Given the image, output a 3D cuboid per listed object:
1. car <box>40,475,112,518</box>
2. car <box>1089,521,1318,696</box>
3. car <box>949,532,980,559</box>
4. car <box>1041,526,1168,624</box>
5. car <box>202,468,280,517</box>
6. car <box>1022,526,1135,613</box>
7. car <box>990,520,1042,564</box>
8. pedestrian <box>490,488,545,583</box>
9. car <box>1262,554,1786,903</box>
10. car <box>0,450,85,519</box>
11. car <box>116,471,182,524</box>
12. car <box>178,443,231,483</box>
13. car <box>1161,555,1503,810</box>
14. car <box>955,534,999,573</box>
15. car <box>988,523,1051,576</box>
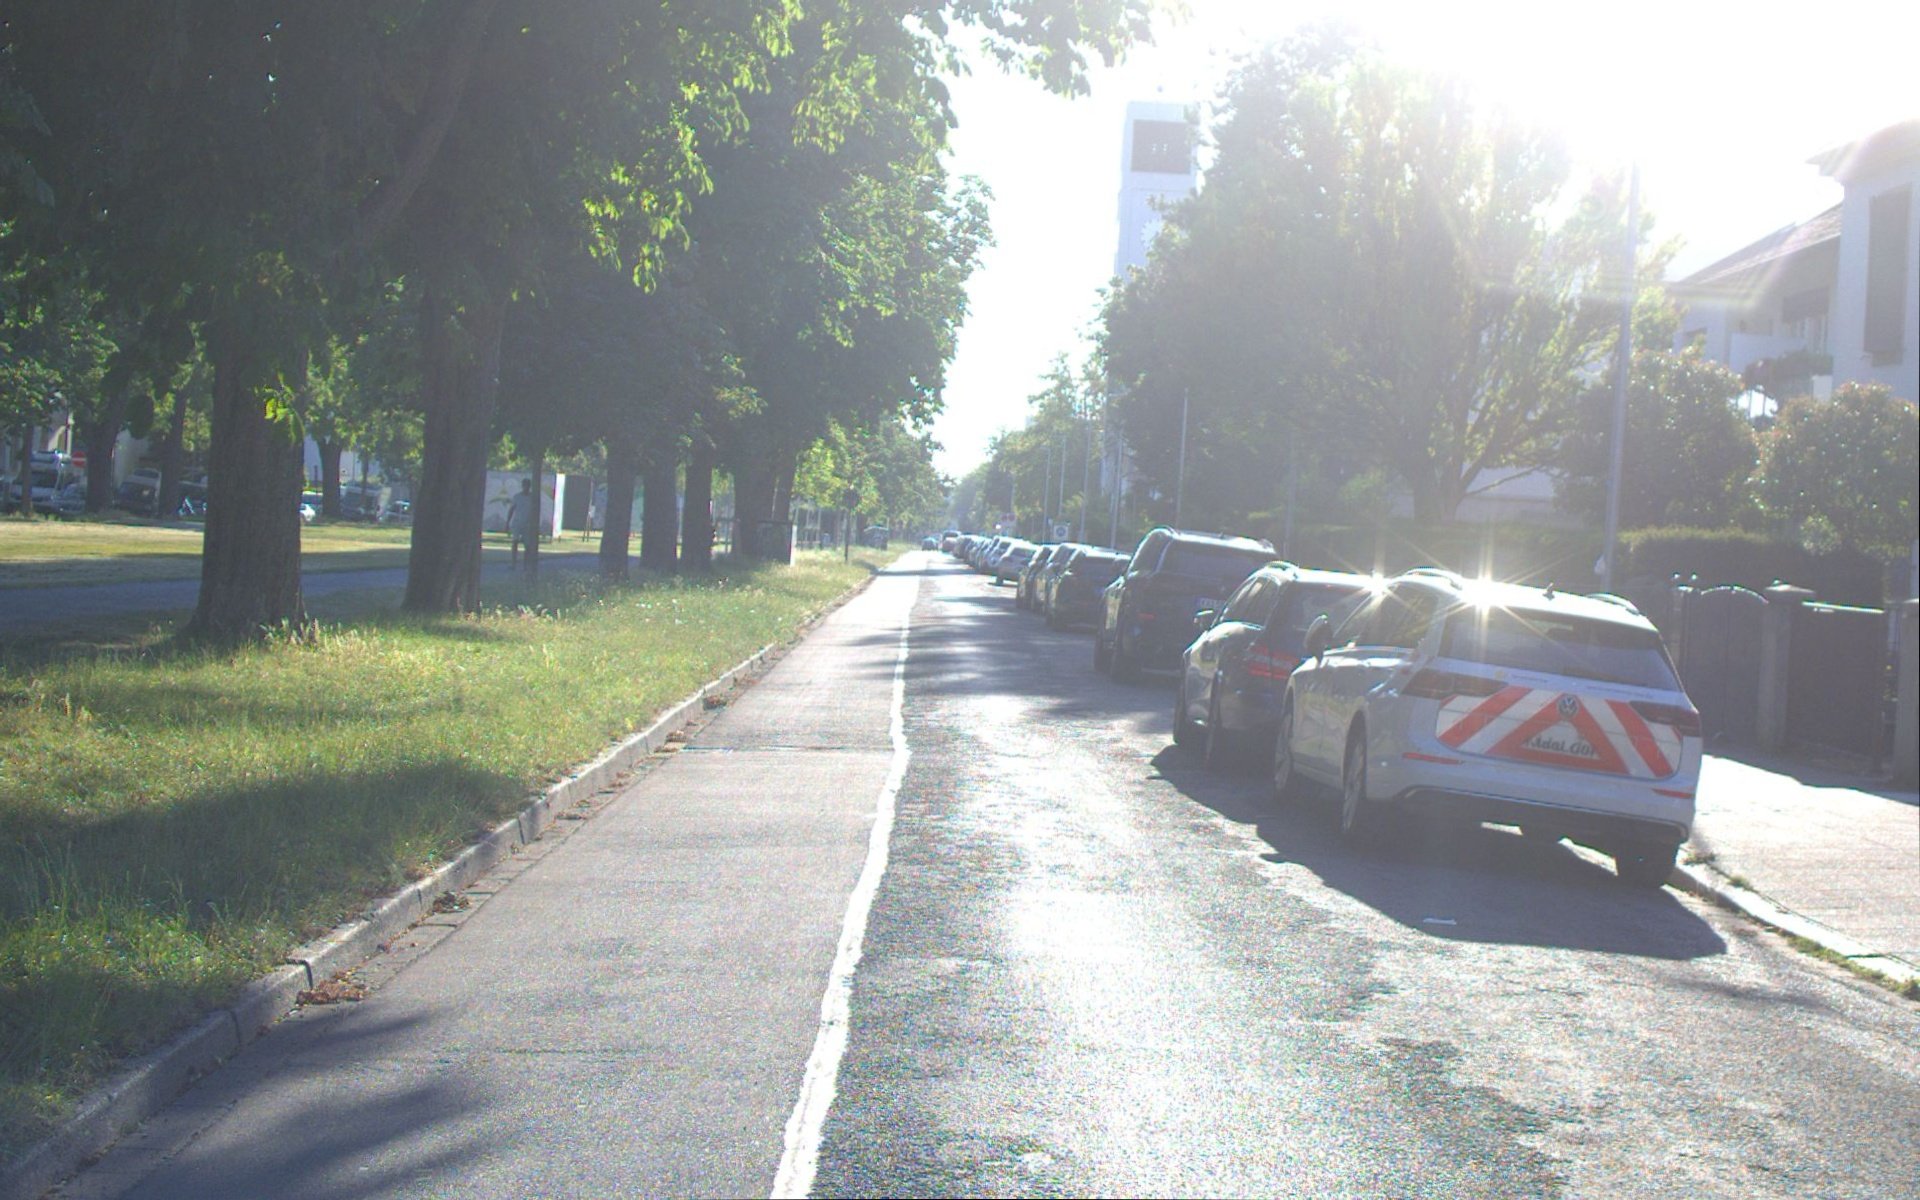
[{"bbox_3d":[-35.532,-4.143,138.284,1.685,1.554,4.314,3,1,0],"label":"car"},{"bbox_3d":[2.684,0.041,38.967,1.993,1.731,4.864,4,1,-2],"label":"car"},{"bbox_3d":[0.321,-3.753,236.646,1.980,1.677,4.000,3,1,1],"label":"car"},{"bbox_3d":[2.421,-0.438,58.694,1.793,1.487,4.675,4,1,-1],"label":"car"},{"bbox_3d":[-35.000,-5.222,167.502,2.534,2.228,5.459,3,2,0],"label":"car"},{"bbox_3d":[2.358,-0.630,69.236,1.691,1.478,3.930,7,1,-4],"label":"car"},{"bbox_3d":[2.191,-2.292,134.771,1.758,1.599,4.359,3,1,-2],"label":"car"},{"bbox_3d":[-8.391,-1.221,65.222,0.724,1.752,0.993,4,1,6],"label":"pedestrian"},{"bbox_3d":[2.997,0.611,19.338,1.993,1.459,4.551,5,2,-1],"label":"car"},{"bbox_3d":[-41.261,-5.149,154.398,2.437,2.912,5.818,1,1,0],"label":"car"},{"bbox_3d":[-35.034,-4.425,148.614,1.685,2.168,4.314,4,2,0],"label":"car"},{"bbox_3d":[-42.167,-7.638,191.931,1.993,2.007,4.485,1,0,-1],"label":"car"},{"bbox_3d":[2.588,0.515,24.978,1.780,1.458,4.594,6,1,-1],"label":"car"},{"bbox_3d":[0.769,-2.102,155.212,1.758,1.599,4.359,3,1,-2],"label":"car"},{"bbox_3d":[1.903,-1.642,111.412,1.757,1.415,4.072,10,1,0],"label":"car"}]
